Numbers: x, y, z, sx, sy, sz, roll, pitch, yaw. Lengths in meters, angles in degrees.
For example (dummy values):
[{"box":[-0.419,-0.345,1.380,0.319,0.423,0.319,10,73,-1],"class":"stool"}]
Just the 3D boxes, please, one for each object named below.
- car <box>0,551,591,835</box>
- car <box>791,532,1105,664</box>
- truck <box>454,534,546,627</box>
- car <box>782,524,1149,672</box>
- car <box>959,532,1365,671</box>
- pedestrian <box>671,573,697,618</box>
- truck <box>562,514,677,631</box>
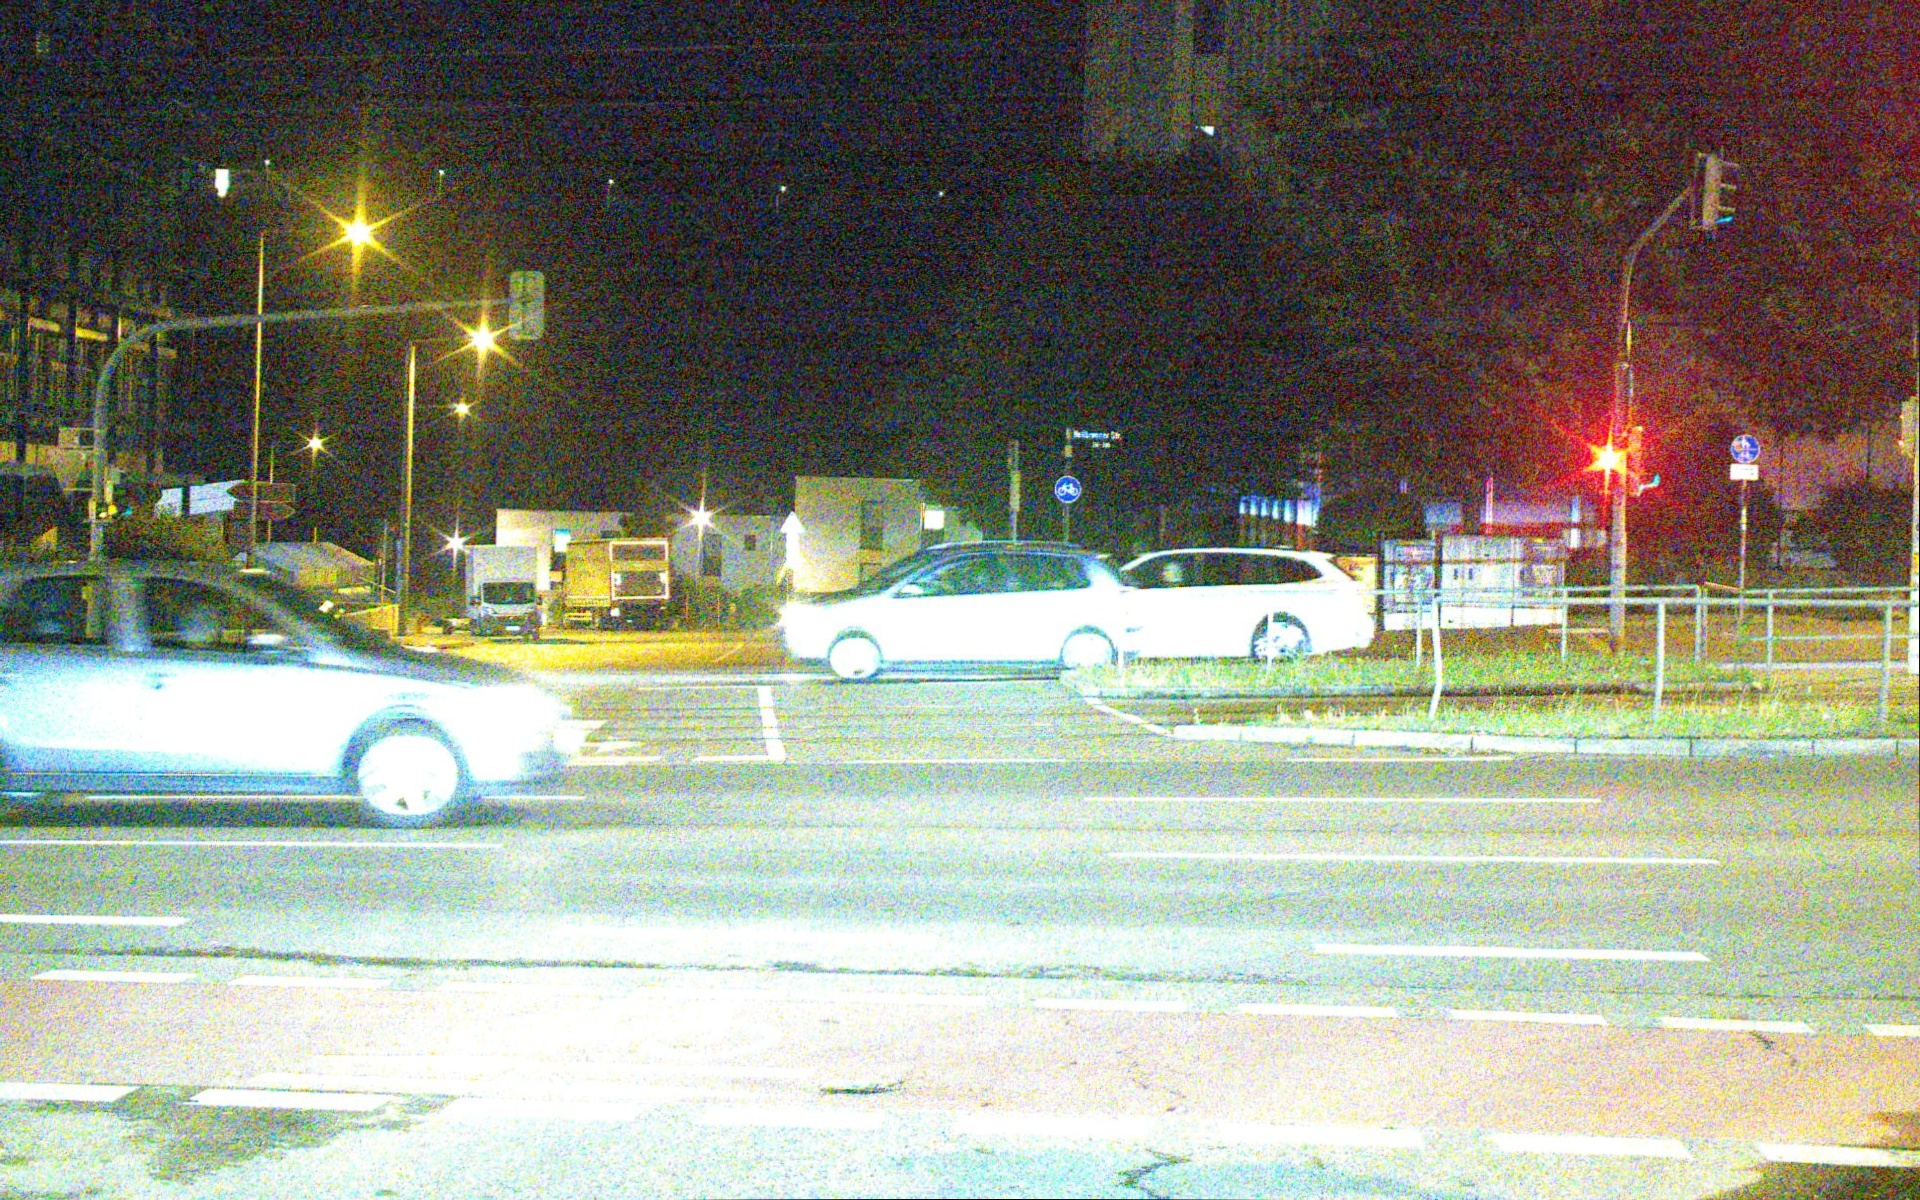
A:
[{"box":[-4.014,0.490,18.905,3.687,1.415,1.643,-1,1,4],"class":"car"},{"box":[-0.122,-0.035,43.680,3.820,1.625,1.811,0,1,6],"class":"car"},{"box":[-16.043,-0.663,119.526,2.417,3.078,6.439,1,0,-14],"class":"truck"},{"box":[0.098,-0.019,37.142,3.835,1.481,1.869,1,0,3],"class":"car"},{"box":[2.333,0.001,39.964,4.575,1.481,1.779,1,1,3],"class":"car"},{"box":[-11.846,-0.206,147.611,0.849,1.905,1.007,1,0,-18],"class":"pedestrian"},{"box":[-14.801,-1.173,148.833,3.359,4.826,7.908,1,0,-17],"class":"truck"}]
